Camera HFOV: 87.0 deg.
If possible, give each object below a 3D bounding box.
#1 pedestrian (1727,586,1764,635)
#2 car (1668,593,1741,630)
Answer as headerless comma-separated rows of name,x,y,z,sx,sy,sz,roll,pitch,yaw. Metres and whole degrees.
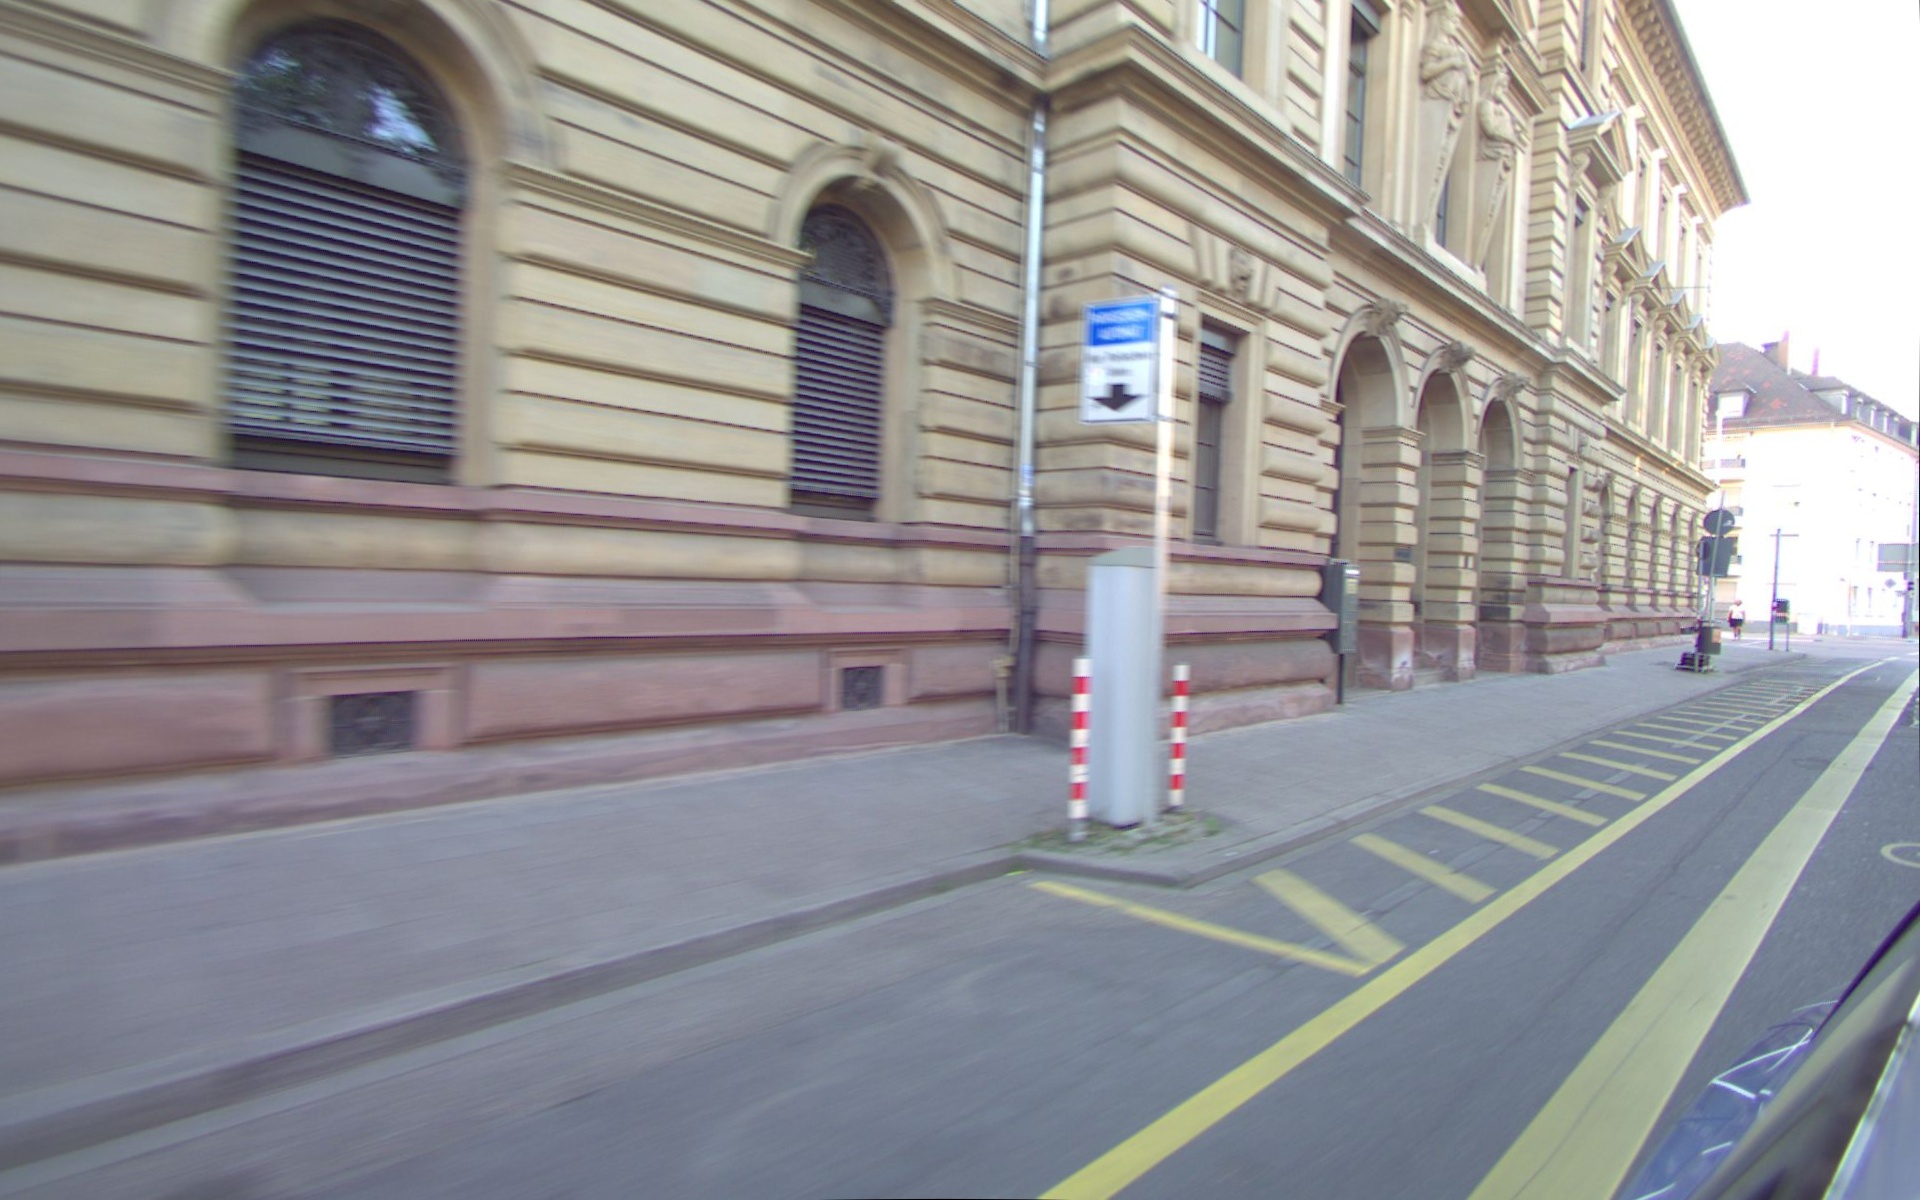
pedestrian,33.761,0.455,43.493,0.973,2.039,0.789,2,0,-21
car,38.796,0.596,52.707,4.395,1.771,1.998,1,1,-40
